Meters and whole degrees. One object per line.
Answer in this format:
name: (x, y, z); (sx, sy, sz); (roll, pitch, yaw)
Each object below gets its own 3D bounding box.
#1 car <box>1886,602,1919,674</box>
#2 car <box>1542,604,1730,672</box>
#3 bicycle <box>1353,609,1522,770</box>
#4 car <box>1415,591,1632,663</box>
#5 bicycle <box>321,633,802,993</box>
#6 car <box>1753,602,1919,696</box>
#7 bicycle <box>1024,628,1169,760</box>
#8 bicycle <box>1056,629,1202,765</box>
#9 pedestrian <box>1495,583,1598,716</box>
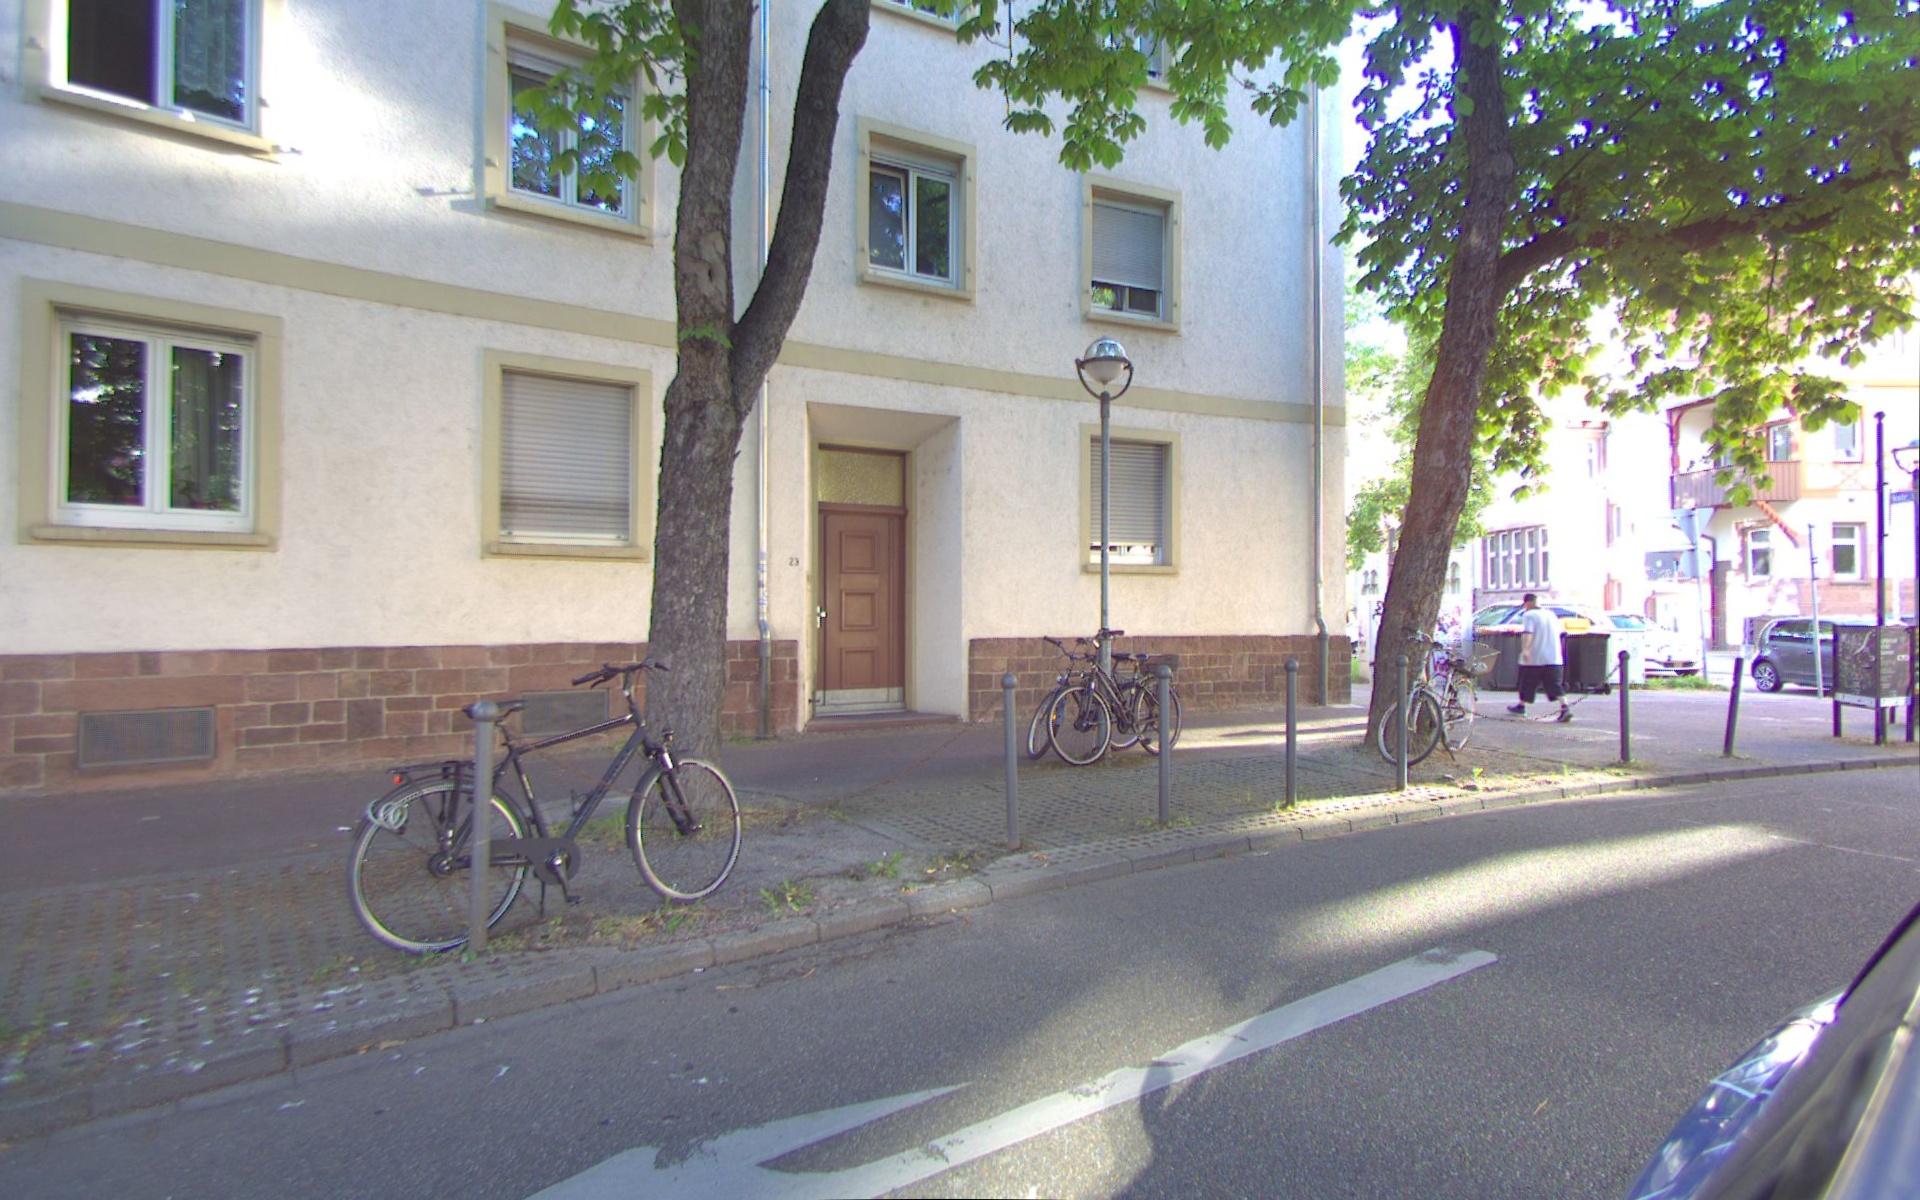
car: (21.648, 0.842, 21.192); (1.463, 1.559, 3.217); (1, 0, -3)
car: (16.925, 0.905, 25.622); (1.771, 1.572, 4.187); (0, -1, -3)
bicycle: (4.414, 0.745, 9.288); (1.871, 1.321, 0.766); (0, -1, -43)
car: (12.002, 0.562, 21.708); (3.728, 1.443, 1.677); (0, -1, -5)
bicycle: (-1.697, 0.794, 4.549); (1.882, 1.238, 0.718); (0, -1, -43)
car: (16.848, 0.837, 18.314); (1.663, 1.572, 4.053); (0, -1, -3)
bicycle: (1.286, 0.821, 9.348); (1.607, 1.108, 0.334); (0, -1, -41)
bicycle: (1.548, 0.824, 9.096); (1.607, 1.108, 0.334); (0, -1, -41)
pedestrian: (7.442, 0.599, 12.856); (0.630, 1.612, 0.945); (0, 0, -33)
